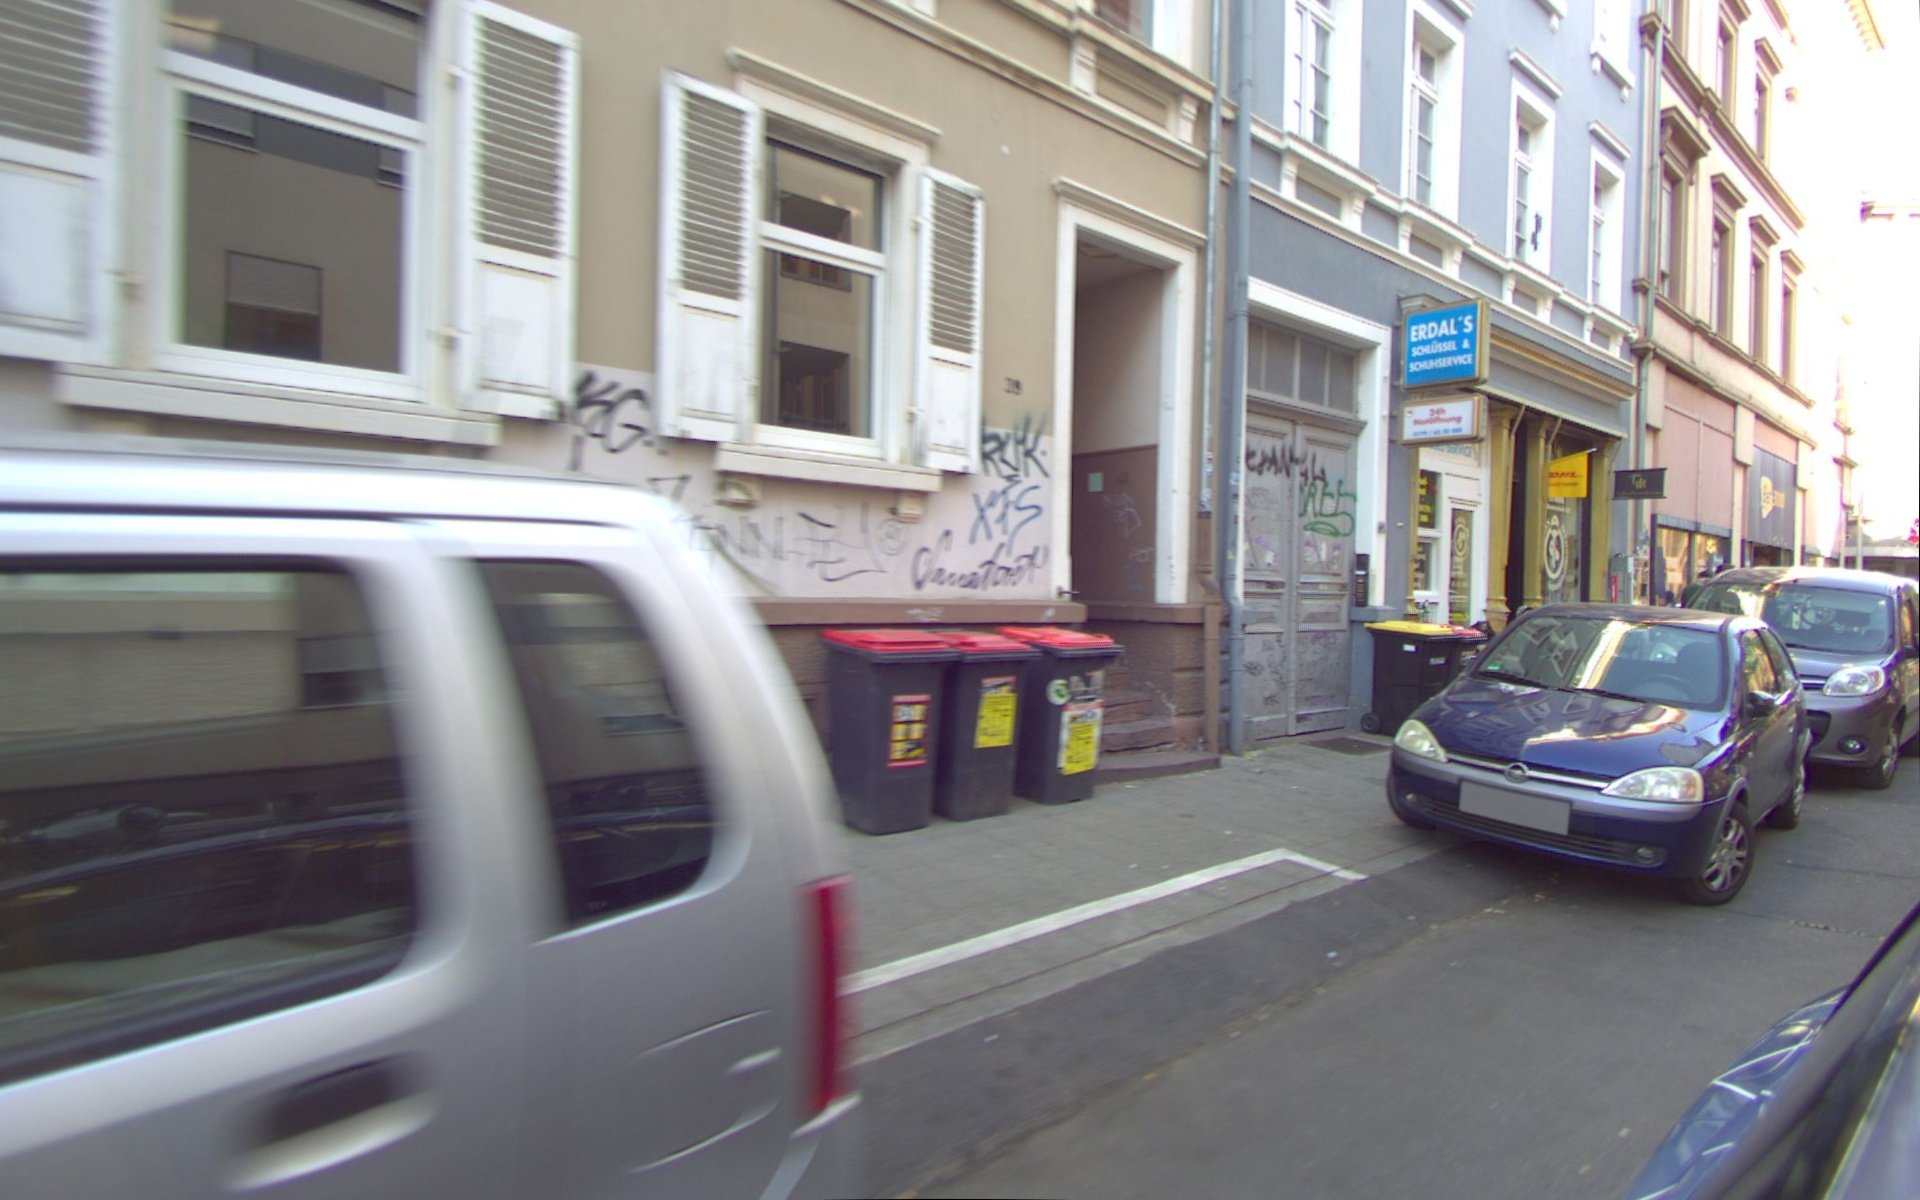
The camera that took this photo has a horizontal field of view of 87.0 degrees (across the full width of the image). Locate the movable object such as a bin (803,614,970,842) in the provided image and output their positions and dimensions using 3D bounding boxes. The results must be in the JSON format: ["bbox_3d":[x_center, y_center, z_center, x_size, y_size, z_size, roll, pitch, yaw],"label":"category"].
[{"bbox_3d":[-0.417,0.655,5.576,0.549,1.101,0.754,0,3,-41],"label":"movable object such as a bin"}]

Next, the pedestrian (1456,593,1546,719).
[{"bbox_3d":[5.834,0.576,10.922,0.617,1.293,0.677,0,0,-38],"label":"pedestrian"}]

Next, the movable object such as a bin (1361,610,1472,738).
[{"bbox_3d":[4.267,0.661,9.465,0.674,1.105,0.726,0,1,-42],"label":"movable object such as a bin"}]

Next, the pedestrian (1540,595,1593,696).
[{"bbox_3d":[7.691,0.559,12.833,0.505,1.238,0.439,0,0,-38],"label":"pedestrian"}]

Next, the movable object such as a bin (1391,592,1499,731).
[{"bbox_3d":[4.751,0.572,9.925,0.570,1.258,0.763,0,2,-42],"label":"movable object such as a bin"}]

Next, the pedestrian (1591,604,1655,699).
[{"bbox_3d":[8.955,0.683,13.685,0.505,1.238,0.532,0,0,0],"label":"pedestrian"}]

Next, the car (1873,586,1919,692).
[{"bbox_3d":[15.996,0.582,16.210,3.491,1.592,1.609,-1,1,-41],"label":"car"}]

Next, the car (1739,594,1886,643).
[{"bbox_3d":[29.031,0.586,34.522,1.757,1.504,3.581,0,2,-40],"label":"car"}]

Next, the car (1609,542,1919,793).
[{"bbox_3d":[7.836,0.458,9.432,4.239,1.816,1.902,-1,1,-41],"label":"car"}]

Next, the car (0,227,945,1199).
[{"bbox_3d":[-1.844,0.565,0.930,3.496,1.733,1.559,-1,1,-41],"label":"car"}]

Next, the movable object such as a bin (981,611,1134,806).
[{"bbox_3d":[0.613,0.644,6.437,0.621,1.101,0.696,0,3,-41],"label":"movable object such as a bin"}]

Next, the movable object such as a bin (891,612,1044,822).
[{"bbox_3d":[0.038,0.645,5.972,0.549,1.101,0.696,0,3,-41],"label":"movable object such as a bin"}]

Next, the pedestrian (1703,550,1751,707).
[{"bbox_3d":[8.891,0.319,11.726,0.426,1.762,0.555,0,0,40],"label":"pedestrian"}]

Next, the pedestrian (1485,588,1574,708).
[{"bbox_3d":[6.394,0.515,11.369,0.642,1.293,0.677,0,0,-38],"label":"pedestrian"}]

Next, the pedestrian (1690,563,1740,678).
[{"bbox_3d":[11.855,0.306,15.899,0.627,1.762,0.650,0,0,37],"label":"pedestrian"}]

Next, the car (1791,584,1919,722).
[{"bbox_3d":[12.519,0.624,13.424,3.254,1.575,1.575,-1,5,-38],"label":"car"}]

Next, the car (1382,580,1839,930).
[{"bbox_3d":[4.140,0.651,6.216,3.551,1.530,1.554,-1,1,-43],"label":"car"}]
